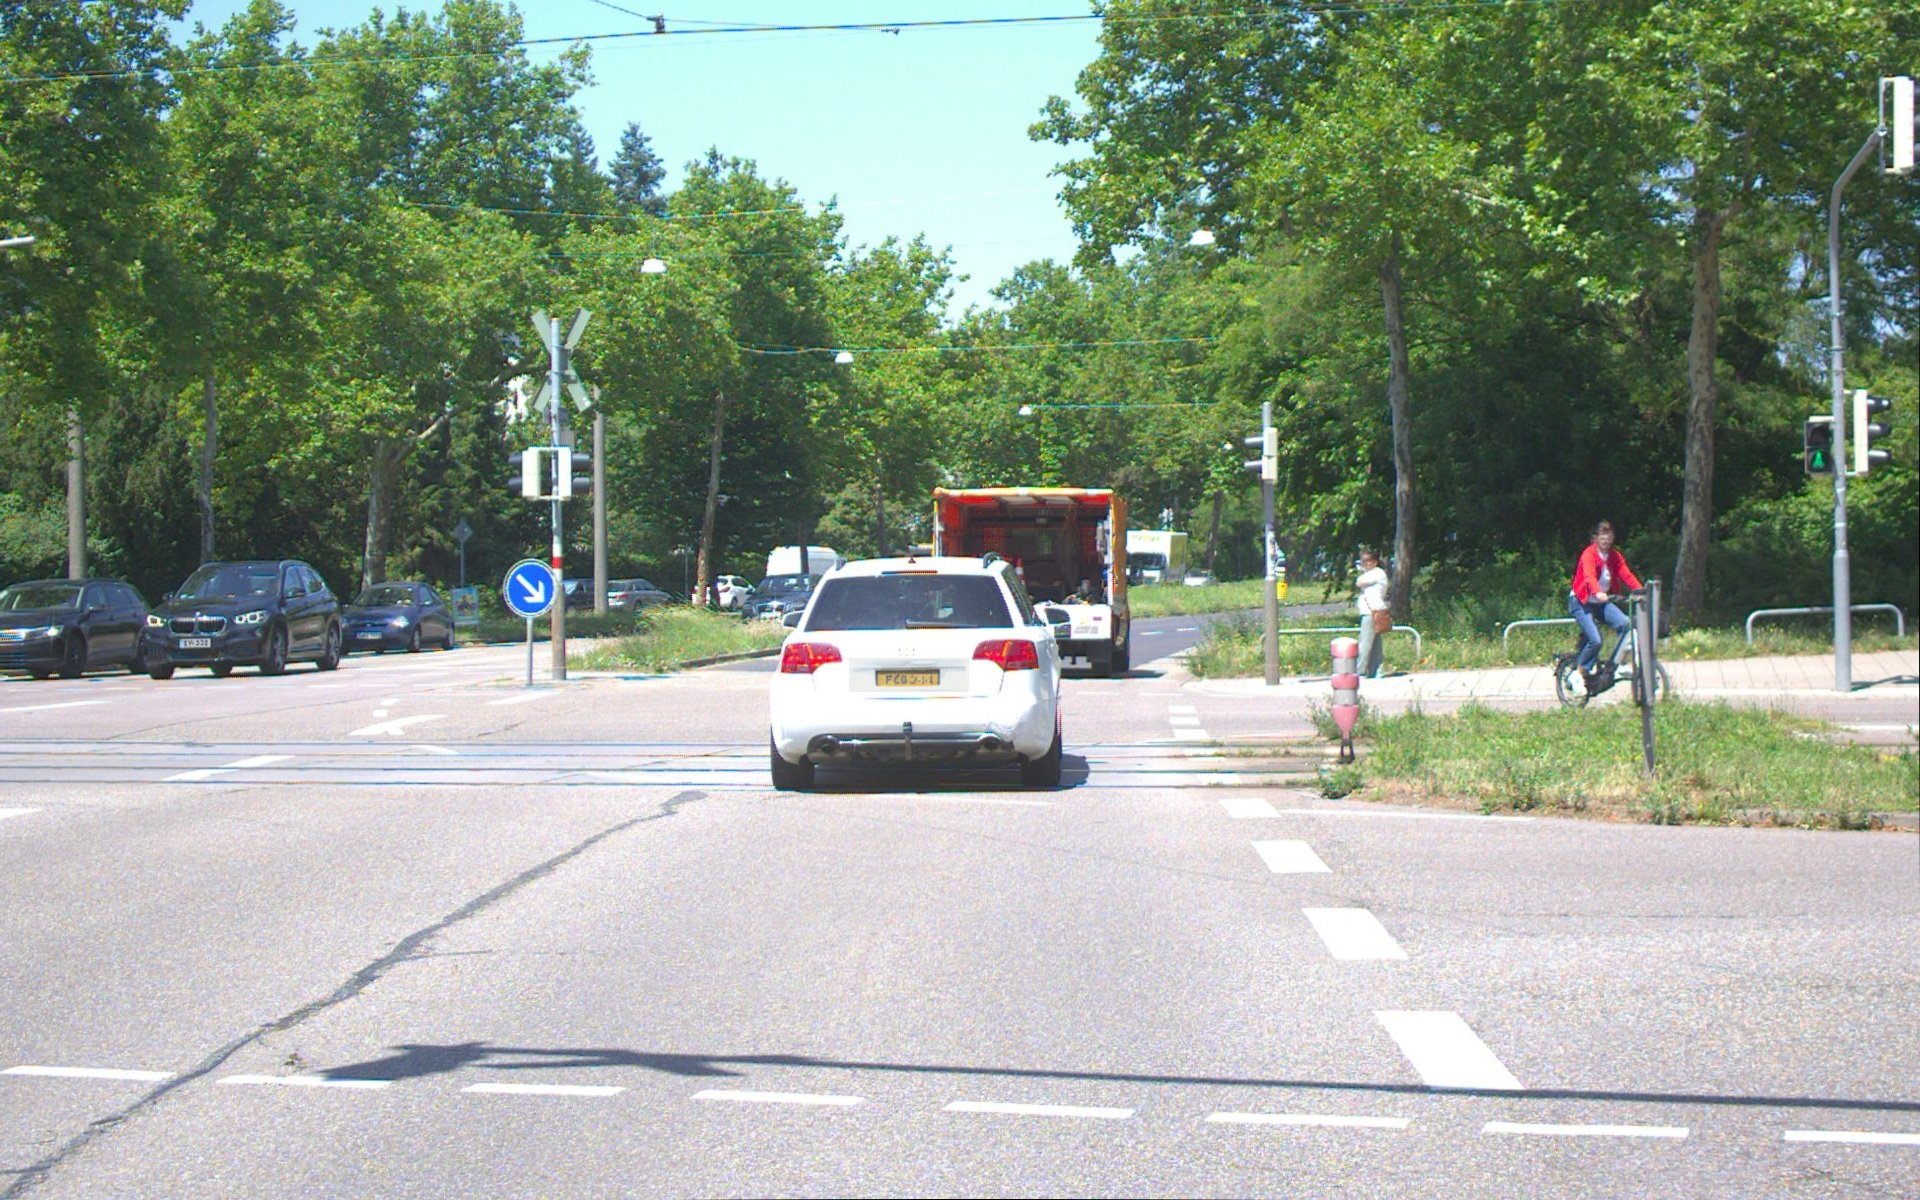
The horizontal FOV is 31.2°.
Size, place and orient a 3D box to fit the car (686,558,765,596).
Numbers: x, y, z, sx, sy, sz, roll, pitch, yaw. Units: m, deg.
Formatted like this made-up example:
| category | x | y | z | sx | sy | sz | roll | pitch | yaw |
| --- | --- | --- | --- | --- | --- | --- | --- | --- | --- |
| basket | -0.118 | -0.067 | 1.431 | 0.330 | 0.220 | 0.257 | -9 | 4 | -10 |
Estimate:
| category | x | y | z | sx | sy | sz | roll | pitch | yaw |
| --- | --- | --- | --- | --- | --- | --- | --- | --- | --- |
| car | -9.200 | -0.910 | 135.271 | 1.883 | 1.469 | 3.997 | 0 | 1 | 15 |

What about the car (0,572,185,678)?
| category | x | y | z | sx | sy | sz | roll | pitch | yaw |
| --- | --- | --- | --- | --- | --- | --- | --- | --- | --- |
| car | -13.211 | 0.335 | 50.728 | 1.950 | 1.435 | 4.745 | 0 | 1 | 7 |

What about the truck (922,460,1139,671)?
| category | x | y | z | sx | sy | sz | roll | pitch | yaw |
| --- | --- | --- | --- | --- | --- | --- | --- | --- | --- |
| truck | 1.062 | -0.525 | 46.092 | 2.511 | 2.550 | 7.603 | 1 | 2 | 4 |

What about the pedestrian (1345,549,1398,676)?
| category | x | y | z | sx | sy | sz | roll | pitch | yaw |
| --- | --- | --- | --- | --- | --- | --- | --- | --- | --- |
| pedestrian | 4.853 | 0.144 | 40.484 | 0.553 | 1.479 | 0.629 | 0 | 1 | 12 |

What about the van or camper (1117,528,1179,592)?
| category | x | y | z | sx | sy | sz | roll | pitch | yaw |
| --- | --- | --- | --- | --- | --- | --- | --- | --- | --- |
| van or camper | 10.009 | -2.142 | 182.712 | 2.662 | 3.320 | 5.498 | 0 | 1 | 10 |

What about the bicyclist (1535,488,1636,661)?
| category | x | y | z | sx | sy | sz | roll | pitch | yaw |
| --- | --- | --- | --- | --- | --- | --- | --- | --- | --- |
| bicyclist | 5.696 | -0.235 | 31.321 | 0.578 | 1.551 | 0.673 | -1 | 1 | -36 |

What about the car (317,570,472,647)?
| category | x | y | z | sx | sy | sz | roll | pitch | yaw |
| --- | --- | --- | --- | --- | --- | --- | --- | --- | --- |
| car | -10.983 | 0.181 | 67.003 | 1.721 | 1.450 | 3.867 | 0 | -1 | 11 |

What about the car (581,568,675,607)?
| category | x | y | z | sx | sy | sz | roll | pitch | yaw |
| --- | --- | --- | --- | --- | --- | --- | --- | --- | --- |
| car | -12.109 | -0.473 | 125.573 | 1.883 | 1.371 | 3.996 | 0 | 1 | 19 |

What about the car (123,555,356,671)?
| category | x | y | z | sx | sy | sz | roll | pitch | yaw |
| --- | --- | --- | --- | --- | --- | --- | --- | --- | --- |
| car | -10.005 | 0.153 | 48.069 | 1.909 | 1.533 | 4.297 | -1 | 1 | 7 |

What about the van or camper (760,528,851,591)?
| category | x | y | z | sx | sy | sz | roll | pitch | yaw |
| --- | --- | --- | --- | --- | --- | --- | --- | --- | --- |
| van or camper | -6.444 | -1.698 | 144.006 | 2.184 | 2.578 | 5.305 | -1 | 1 | 16 |

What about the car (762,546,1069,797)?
| category | x | y | z | sx | sy | sz | roll | pitch | yaw |
| --- | --- | --- | --- | --- | --- | --- | --- | --- | --- |
| car | -0.274 | 0.390 | 21.732 | 1.762 | 1.440 | 3.616 | -1 | 1 | -1 |

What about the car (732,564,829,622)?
| category | x | y | z | sx | sy | sz | roll | pitch | yaw |
| --- | --- | --- | --- | --- | --- | --- | --- | --- | --- |
| car | -4.510 | -0.186 | 86.949 | 1.736 | 1.390 | 4.177 | -1 | 1 | 7 |

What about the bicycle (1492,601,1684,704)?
| category | x | y | z | sx | sy | sz | roll | pitch | yaw |
| --- | --- | --- | --- | --- | --- | --- | --- | --- | --- |
| bicycle | 5.708 | 0.463 | 31.329 | 0.587 | 0.892 | 1.811 | -1 | 1 | -36 |
